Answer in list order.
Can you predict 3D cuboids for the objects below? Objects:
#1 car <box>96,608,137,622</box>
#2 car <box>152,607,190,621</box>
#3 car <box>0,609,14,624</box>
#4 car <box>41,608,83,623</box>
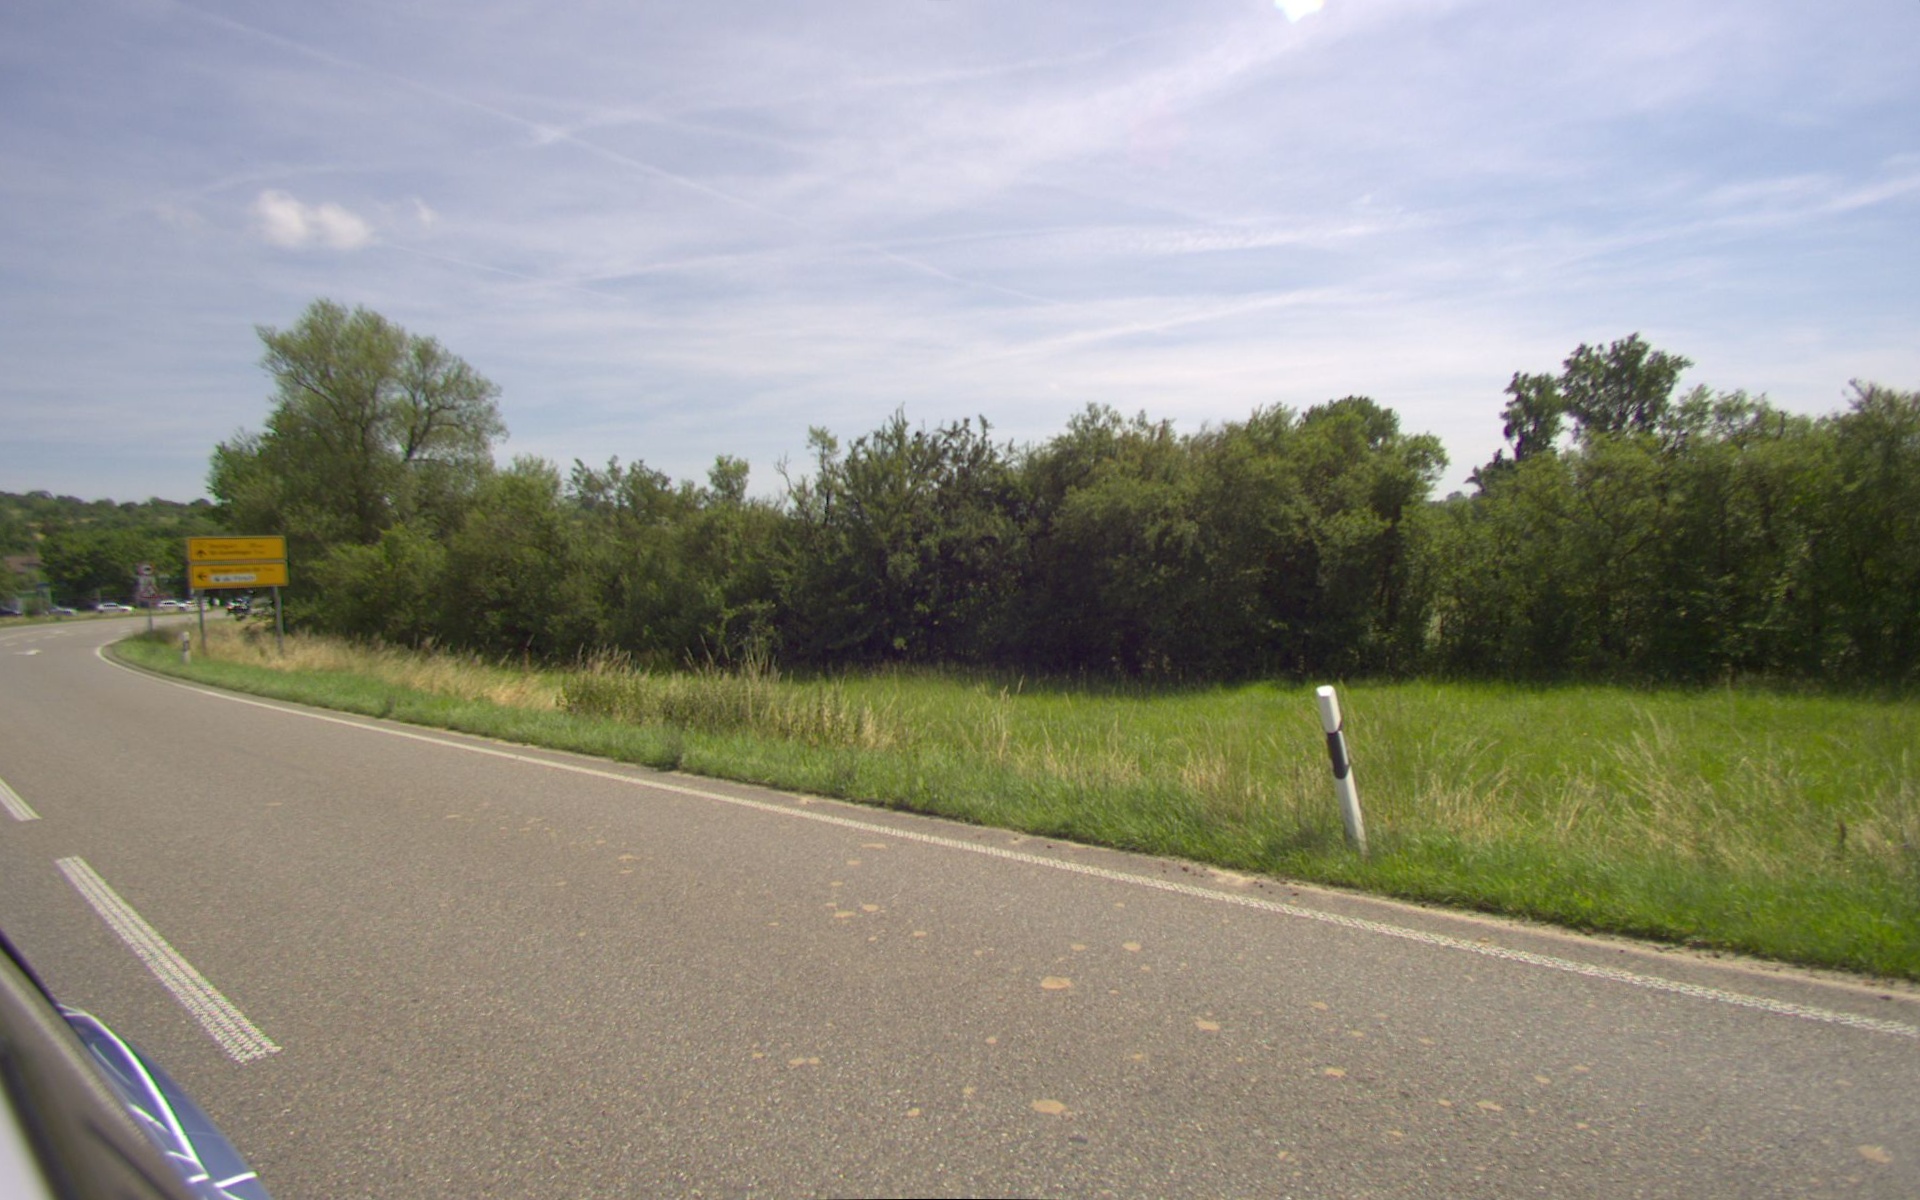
[{"bbox_3d":[-118.347,2.095,142.014,3.931,2.029,1.894,0,0,-20],"label":"car"},{"bbox_3d":[-112.542,1.998,144.364,3.931,2.029,1.894,0,0,-20],"label":"car"},{"bbox_3d":[-130.414,2.211,136.617,3.939,2.029,1.890,0,0,-42],"label":"car"},{"bbox_3d":[-124.186,2.124,139.925,3.930,2.029,1.894,0,0,-23],"label":"car"}]
